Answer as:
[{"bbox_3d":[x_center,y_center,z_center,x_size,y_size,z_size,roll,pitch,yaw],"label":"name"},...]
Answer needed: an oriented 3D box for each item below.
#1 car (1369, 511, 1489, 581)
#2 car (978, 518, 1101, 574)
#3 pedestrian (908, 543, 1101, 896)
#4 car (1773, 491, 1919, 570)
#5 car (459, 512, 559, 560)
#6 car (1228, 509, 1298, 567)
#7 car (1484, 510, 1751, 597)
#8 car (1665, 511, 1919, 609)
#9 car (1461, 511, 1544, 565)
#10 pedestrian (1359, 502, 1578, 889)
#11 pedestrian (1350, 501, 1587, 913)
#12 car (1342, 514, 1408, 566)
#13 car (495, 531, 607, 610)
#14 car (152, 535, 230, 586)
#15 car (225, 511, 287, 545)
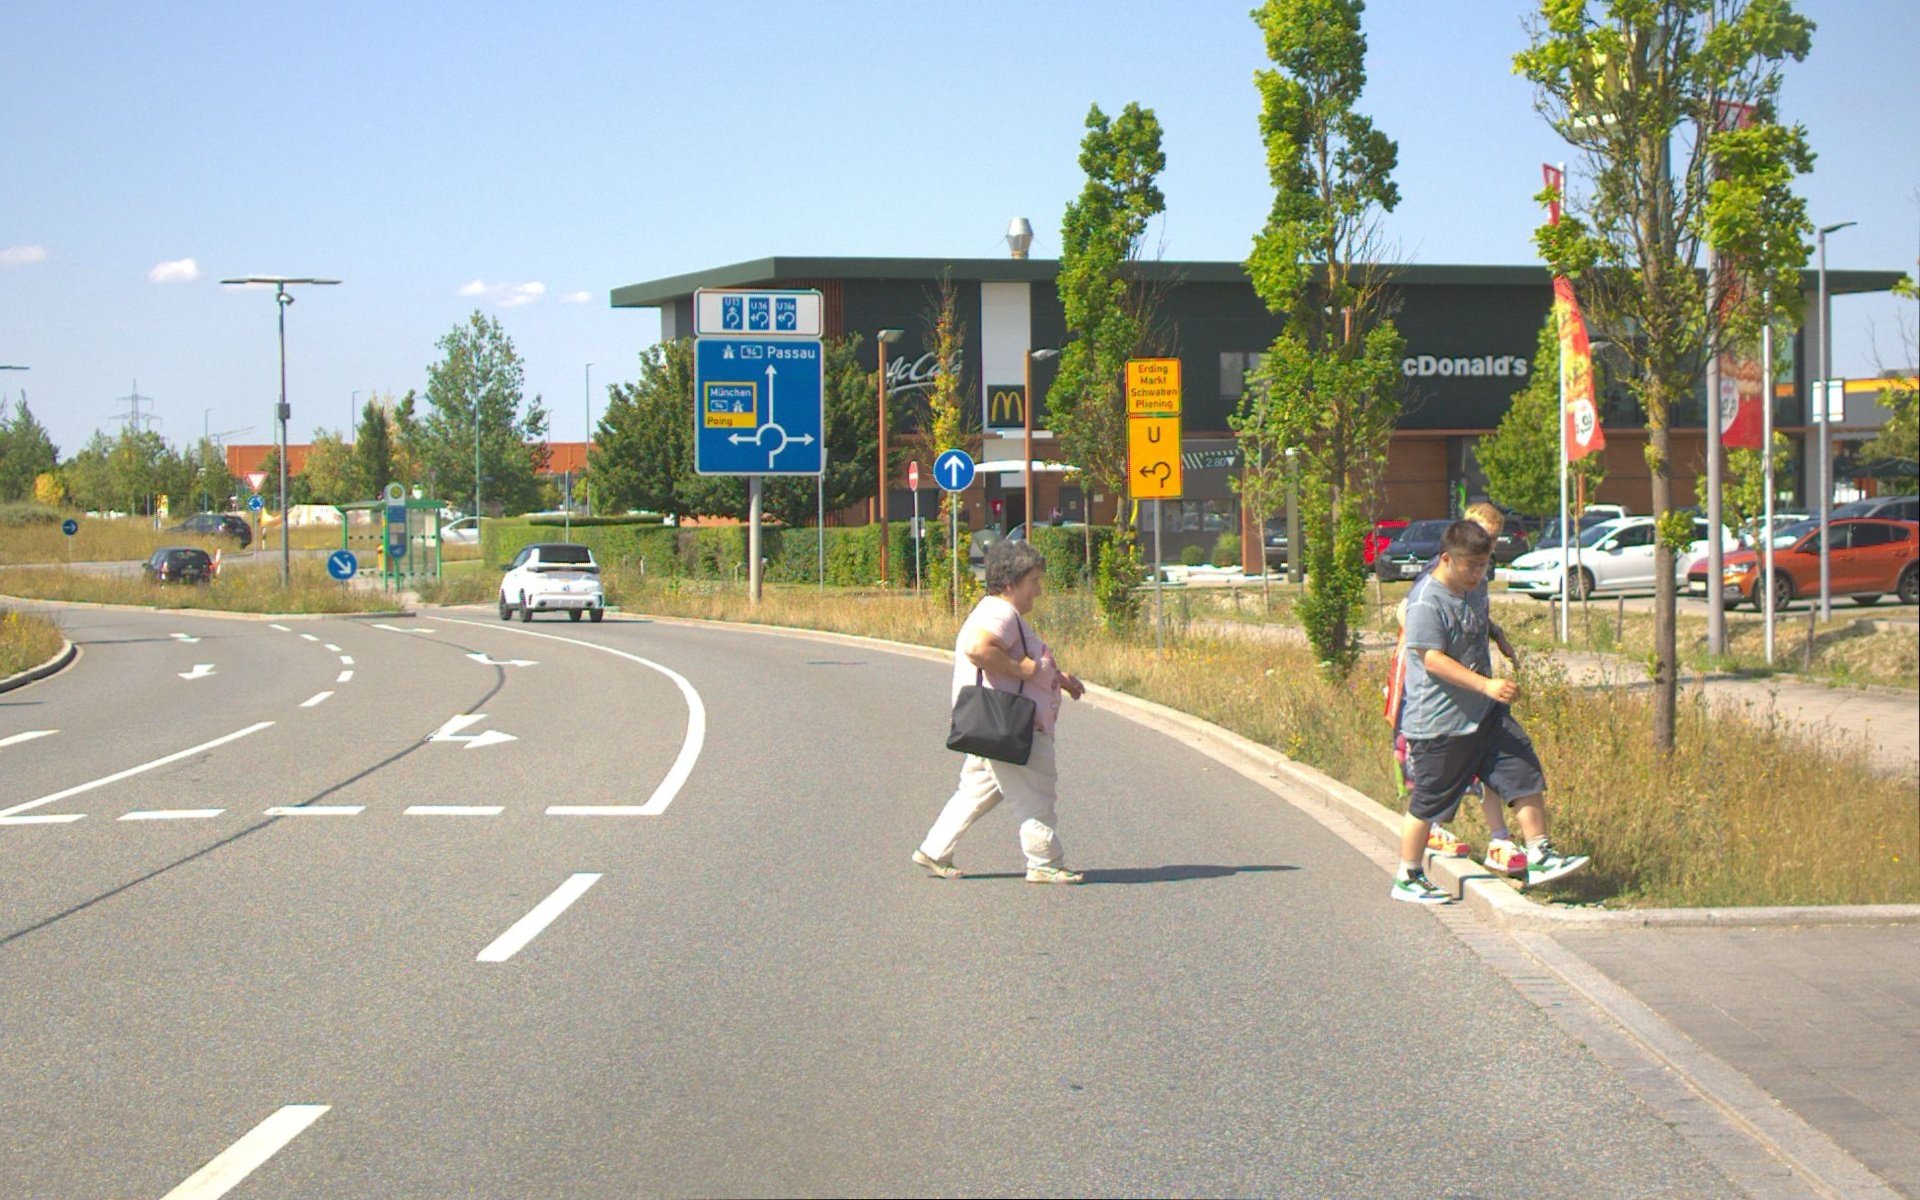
[{"bbox_3d":[10.237,-1.196,74.818,1.699,1.457,4.165,0,1,20],"label":"car"},{"bbox_3d":[2.107,-1.449,92.101,1.792,1.429,4.001,-2,1,-23],"label":"car"},{"bbox_3d":[0.177,0.490,14.785,0.792,1.465,0.949,0,1,-1],"label":"pedestrian"},{"bbox_3d":[19.679,-1.498,73.639,4.154,1.629,1.792,-1,1,-23],"label":"car"},{"bbox_3d":[-19.203,-2.715,146.595,3.987,2.007,1.834,0,1,1],"label":"car"},{"bbox_3d":[8.744,-1.800,98.969,1.793,1.599,3.999,-1,1,8],"label":"car"},{"bbox_3d":[12.298,-0.887,64.383,4.524,1.485,1.869,-2,2,-15],"label":"car"},{"bbox_3d":[14.055,-0.683,57.070,4.203,1.485,1.869,-2,2,-15],"label":"car"},{"bbox_3d":[15.965,-1.841,101.037,1.794,1.508,3.997,-1,1,18],"label":"car"},{"bbox_3d":[2.181,0.393,14.831,0.801,1.624,0.805,0,1,-1],"label":"pedestrian"},{"bbox_3d":[2.051,0.413,13.974,0.809,1.623,0.866,0,1,-1],"label":"pedestrian"},{"bbox_3d":[12.032,-1.749,99.563,1.793,1.429,3.999,-1,1,8],"label":"car"},{"bbox_3d":[-7.801,-0.580,65.286,1.616,1.429,3.794,-1,1,-14],"label":"car"},{"bbox_3d":[-22.278,-1.152,99.532,1.616,1.429,3.793,-1,1,-22],"label":"car"},{"bbox_3d":[-30.225,-3.091,147.472,1.993,1.435,4.001,-1,2,-21],"label":"car"}]
